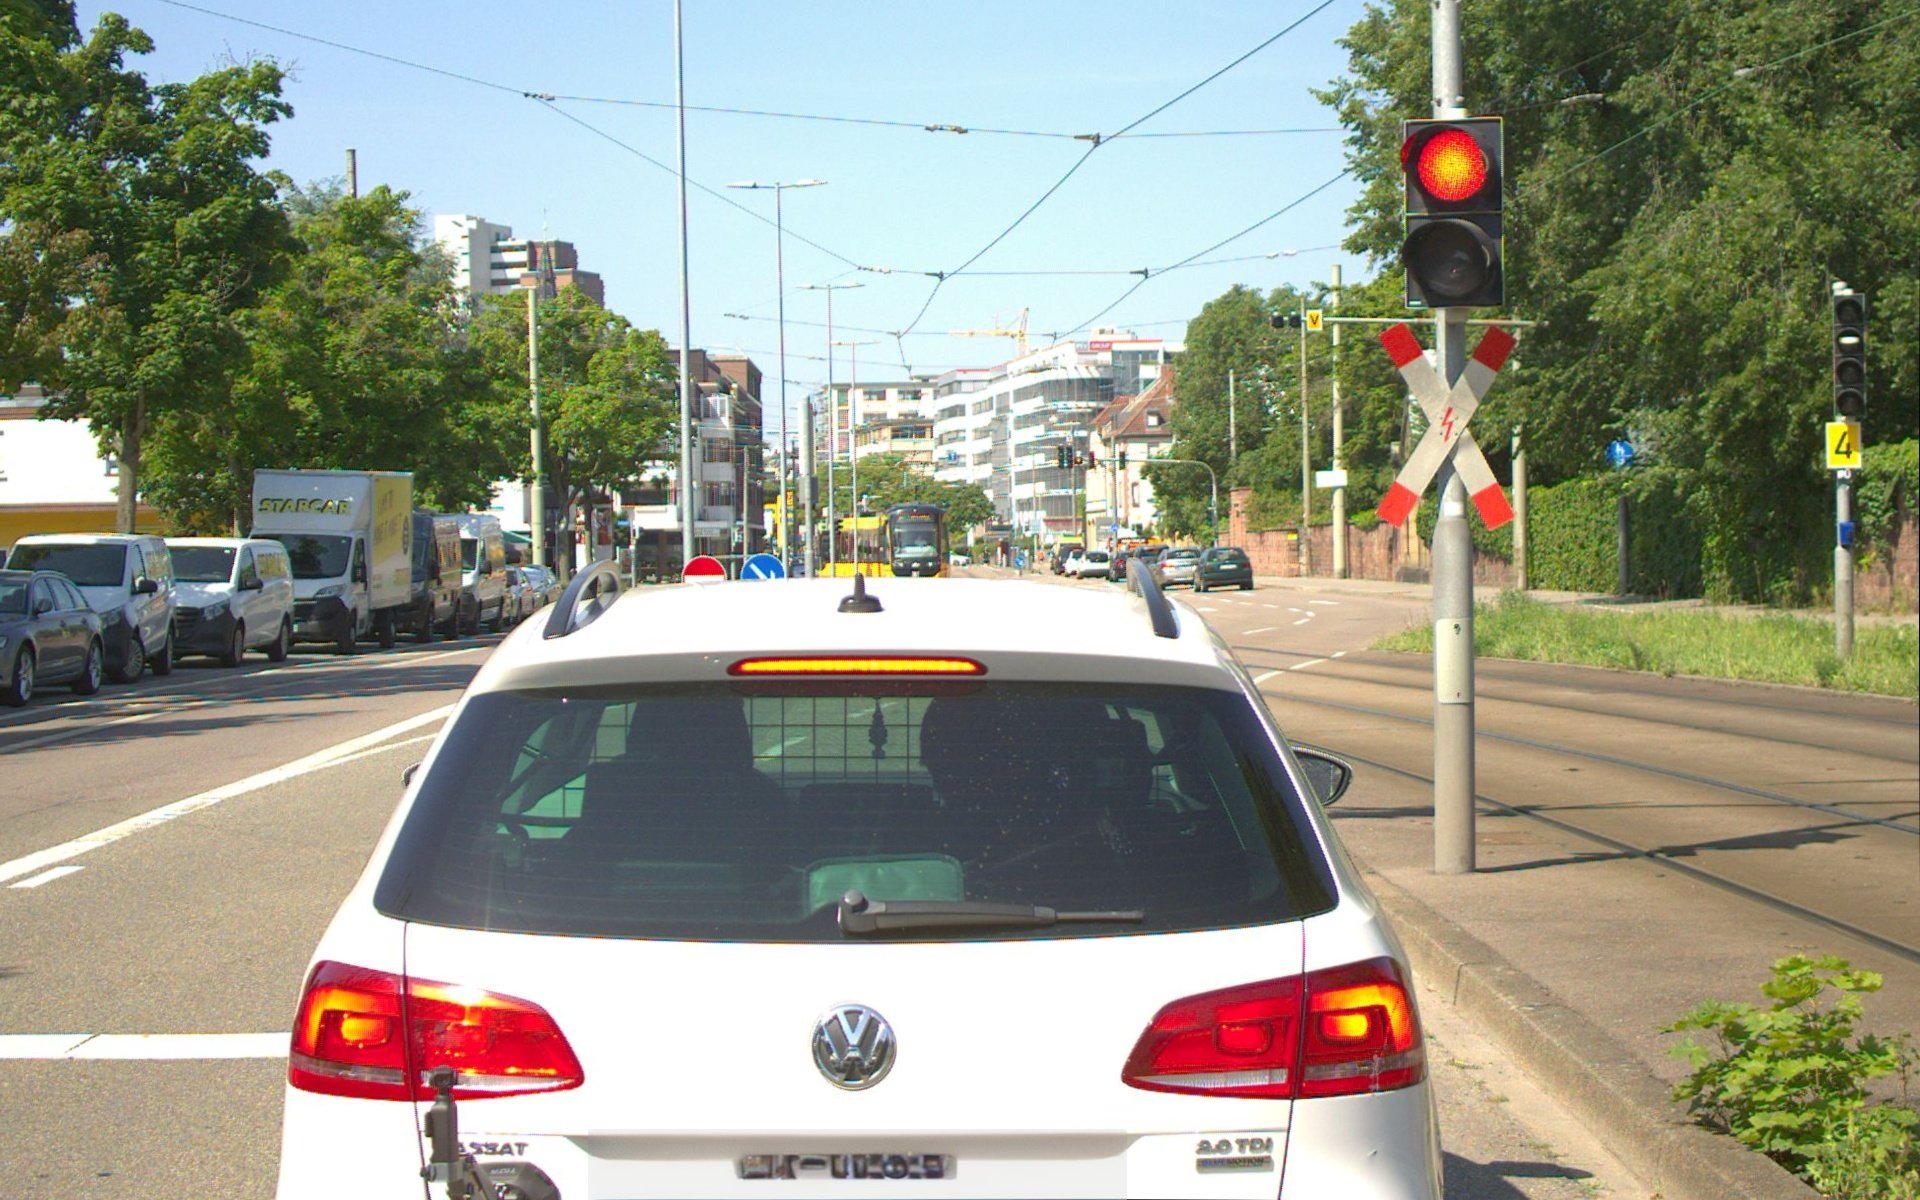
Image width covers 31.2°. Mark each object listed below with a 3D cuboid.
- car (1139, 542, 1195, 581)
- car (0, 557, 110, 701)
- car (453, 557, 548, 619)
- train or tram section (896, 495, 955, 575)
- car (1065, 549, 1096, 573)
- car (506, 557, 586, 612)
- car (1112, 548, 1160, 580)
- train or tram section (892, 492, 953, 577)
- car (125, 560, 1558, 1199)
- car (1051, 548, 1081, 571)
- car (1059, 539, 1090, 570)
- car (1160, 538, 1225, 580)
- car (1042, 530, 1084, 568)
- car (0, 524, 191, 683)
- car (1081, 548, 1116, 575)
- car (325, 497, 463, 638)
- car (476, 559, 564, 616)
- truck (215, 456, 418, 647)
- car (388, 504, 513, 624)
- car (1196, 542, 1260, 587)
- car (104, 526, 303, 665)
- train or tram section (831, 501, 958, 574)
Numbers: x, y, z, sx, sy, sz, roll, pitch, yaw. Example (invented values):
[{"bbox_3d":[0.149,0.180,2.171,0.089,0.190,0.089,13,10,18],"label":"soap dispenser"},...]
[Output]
[{"bbox_3d":[8.313,-1.558,138.489,1.861,1.508,3.913,1,1,-2],"label":"car"},{"bbox_3d":[-11.005,0.304,38.686,1.843,1.511,4.197,-1,1,-1],"label":"car"},{"bbox_3d":[-11.396,-0.316,85.458,1.843,1.428,4.038,-1,1,-1],"label":"car"},{"bbox_3d":[-1.426,-2.749,148.357,2.301,3.241,10.807,1,0,0],"label":"train or tram section"},{"bbox_3d":[6.884,-2.211,196.137,1.581,1.341,3.454,1,0,-1],"label":"car"},{"bbox_3d":[-11.609,-0.457,96.601,1.780,1.428,4.038,-1,1,-1],"label":"car"},{"bbox_3d":[7.890,-1.621,154.571,1.745,1.403,3.914,1,1,-3],"label":"car"},{"bbox_3d":[-1.466,-2.555,137.583,2.301,3.241,11.275,1,0,0],"label":"train or tram section"},{"bbox_3d":[-0.200,0.677,6.230,1.768,1.441,3.913,1,1,-1],"label":"car"},{"bbox_3d":[7.622,-2.911,246.370,1.993,1.590,4.000,1,0,0],"label":"car"},{"bbox_3d":[6.925,-2.761,208.975,1.691,1.806,3.454,1,0,-1],"label":"car"},{"bbox_3d":[8.265,-1.470,122.510,1.861,1.412,4.325,1,1,-2],"label":"car"},{"bbox_3d":[6.869,-3.383,229.841,2.463,2.490,5.910,1,0,-1],"label":"car"},{"bbox_3d":[-11.470,0.004,45.314,1.843,1.930,5.195,-1,1,-4],"label":"car"},{"bbox_3d":[7.112,-1.984,176.994,1.581,1.341,3.454,1,0,-1],"label":"car"},{"bbox_3d":[-11.171,-0.666,68.155,1.843,2.659,5.003,-1,1,0],"label":"car"},{"bbox_3d":[-11.665,-0.347,91.371,1.843,1.428,4.038,-1,1,-1],"label":"car"},{"bbox_3d":[-11.191,-0.870,60.380,2.356,3.112,6.892,-1,1,-1],"label":"truck"},{"bbox_3d":[-11.158,-0.815,75.661,1.843,2.486,5.857,-1,1,0],"label":"car"},{"bbox_3d":[8.563,-1.162,109.896,1.746,1.383,3.913,1,1,0],"label":"car"},{"bbox_3d":[-11.355,-0.110,51.942,1.843,1.954,5.134,-1,1,0],"label":"car"},{"bbox_3d":[-3.084,-2.843,158.330,2.300,3.241,10.810,1,0,-21],"label":"train or tram section"}]
